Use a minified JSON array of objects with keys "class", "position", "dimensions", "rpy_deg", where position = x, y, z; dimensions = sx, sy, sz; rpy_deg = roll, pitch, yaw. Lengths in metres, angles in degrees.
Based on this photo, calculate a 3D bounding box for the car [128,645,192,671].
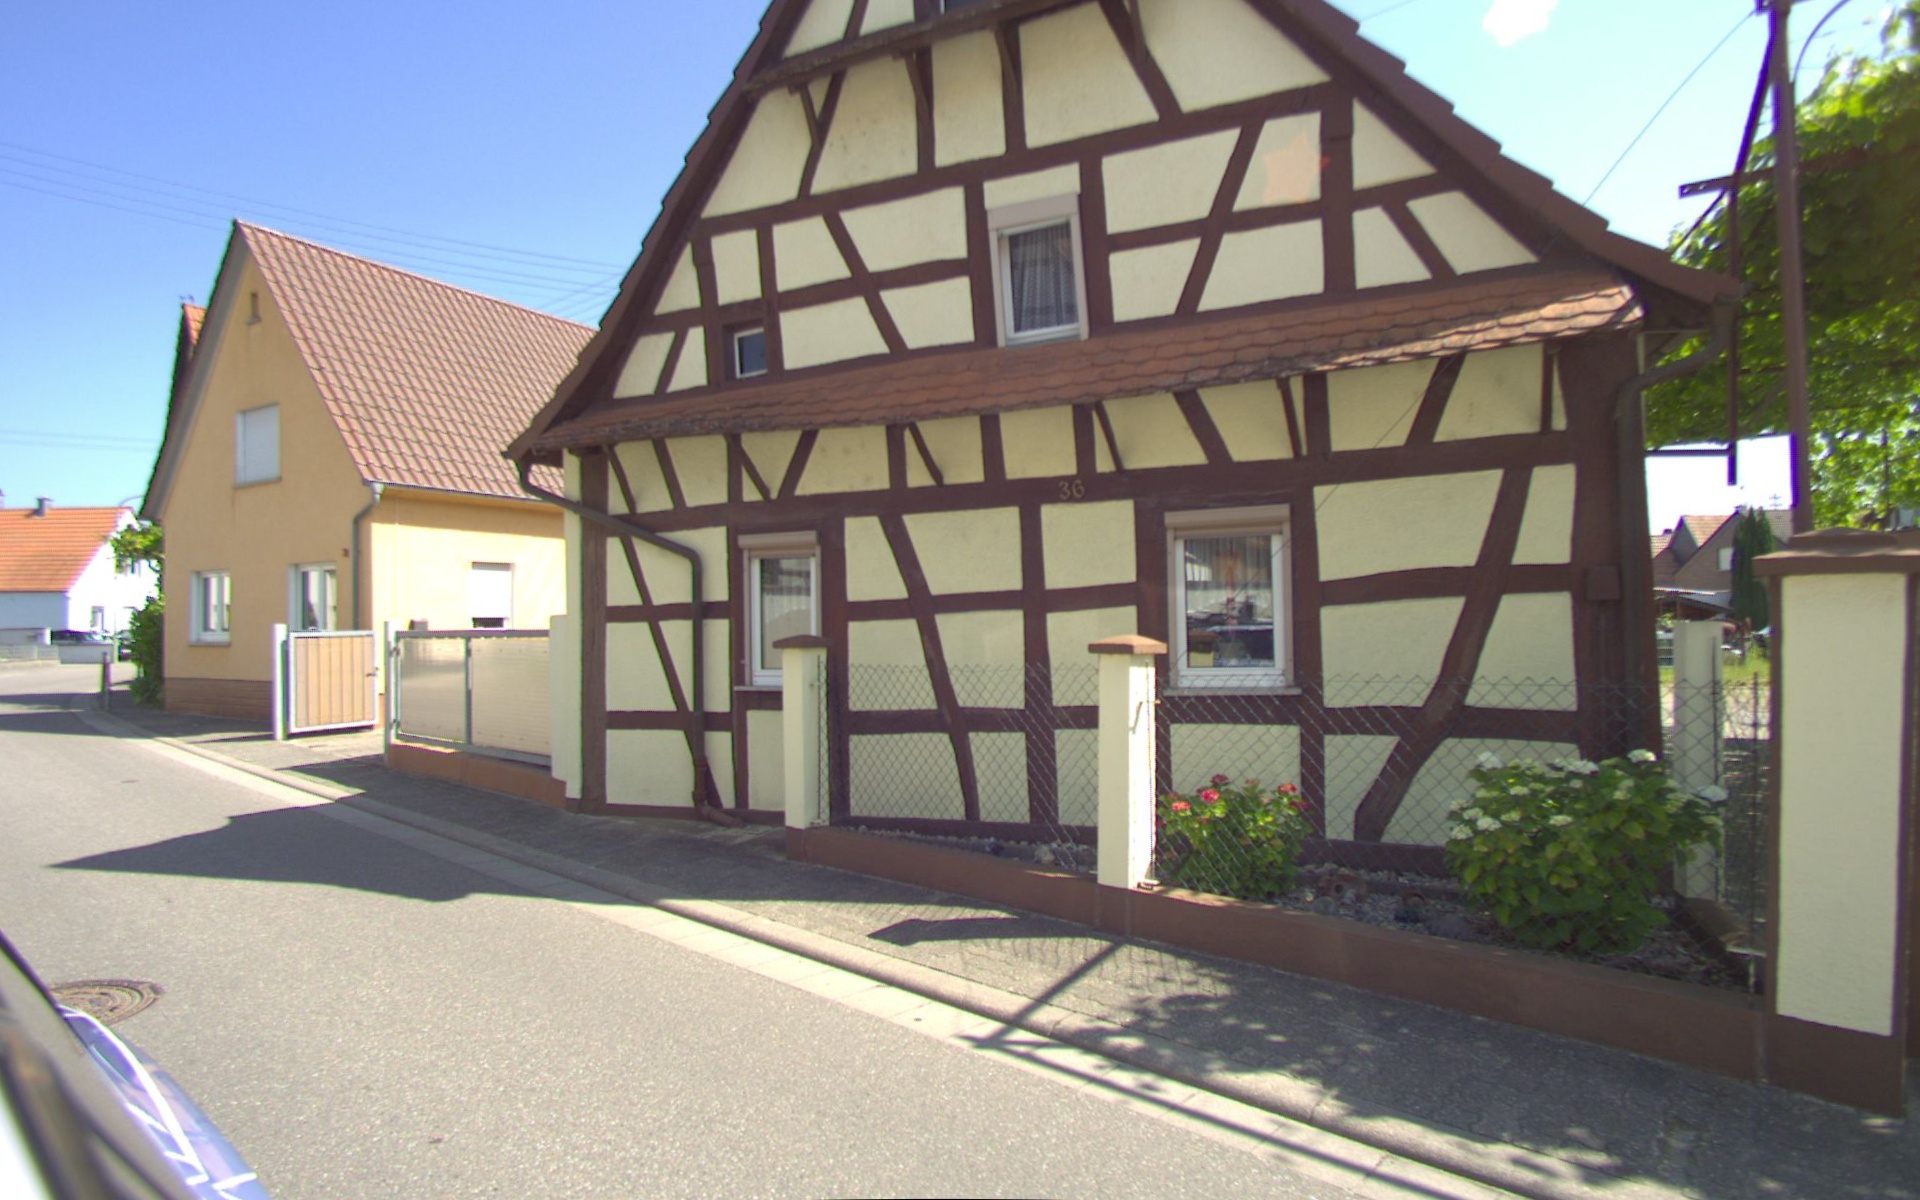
[{"class":"car","position":[-44.580,3.203,56.471],"dimensions":[1.499,1.384,3.608],"rpy_deg":[0,-2,-16]}]

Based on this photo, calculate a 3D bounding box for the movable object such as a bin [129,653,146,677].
[{"class":"movable object such as a bin","position":[-40.268,3.177,49.570],"dimensions":[0.432,1.152,0.563],"rpy_deg":[-3,-3,40]}]

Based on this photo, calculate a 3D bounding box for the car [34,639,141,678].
[{"class":"car","position":[-43.932,2.921,51.021],"dimensions":[3.944,1.859,1.702],"rpy_deg":[-1,-2,1]}]
